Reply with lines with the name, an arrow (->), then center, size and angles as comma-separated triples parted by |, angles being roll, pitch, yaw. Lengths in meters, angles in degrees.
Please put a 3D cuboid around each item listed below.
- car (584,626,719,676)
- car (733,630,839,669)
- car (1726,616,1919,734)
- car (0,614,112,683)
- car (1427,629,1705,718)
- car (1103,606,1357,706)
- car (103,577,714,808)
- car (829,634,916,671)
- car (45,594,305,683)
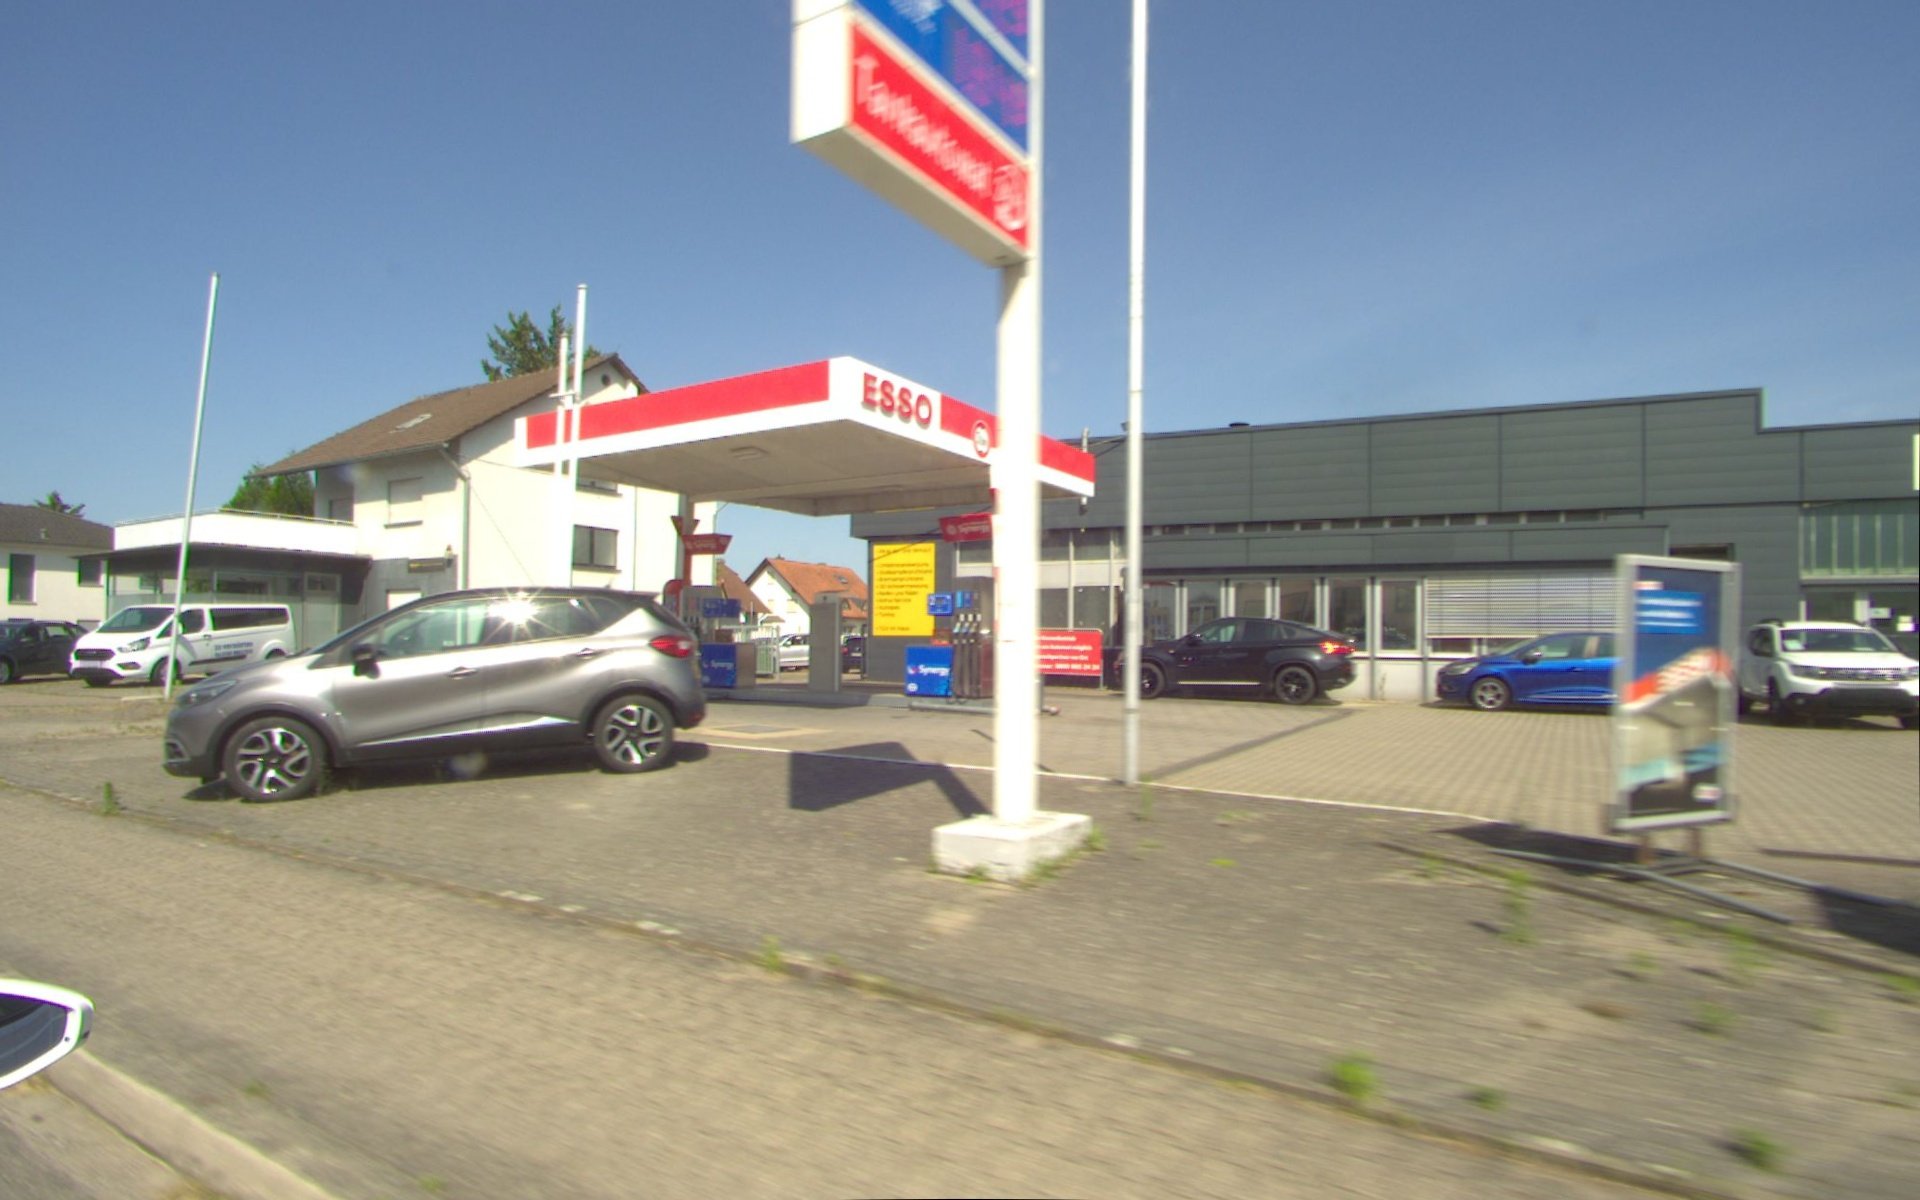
car -> -9.782, 1.607, 32.056 | 1.784, 1.498, 4.059 | -1, -2, 28
car -> -7.367, 2.116, 42.522 | 4.023, 1.497, 1.801 | 4, -5, -33
car -> 13.909, 1.122, 16.157 | 1.784, 1.655, 4.139 | -1, -2, 28
car -> -23.000, 1.129, 24.126 | 1.947, 1.570, 4.316 | 0, -1, -9
car -> 10.710, 1.261, 18.073 | 4.058, 1.450, 1.794 | -1, -2, 24
car -> 5.434, 1.079, 20.184 | 4.736, 1.763, 1.806 | 1, -2, 23
car -> -4.319, 0.647, 8.519 | 4.111, 1.575, 1.770 | -1, -1, -21
car -> -3.474, 2.129, 40.387 | 1.784, 1.392, 3.620 | -1, -5, 28
car -> -19.867, 0.955, 25.766 | 2.188, 2.039, 5.287 | 0, -1, 6
